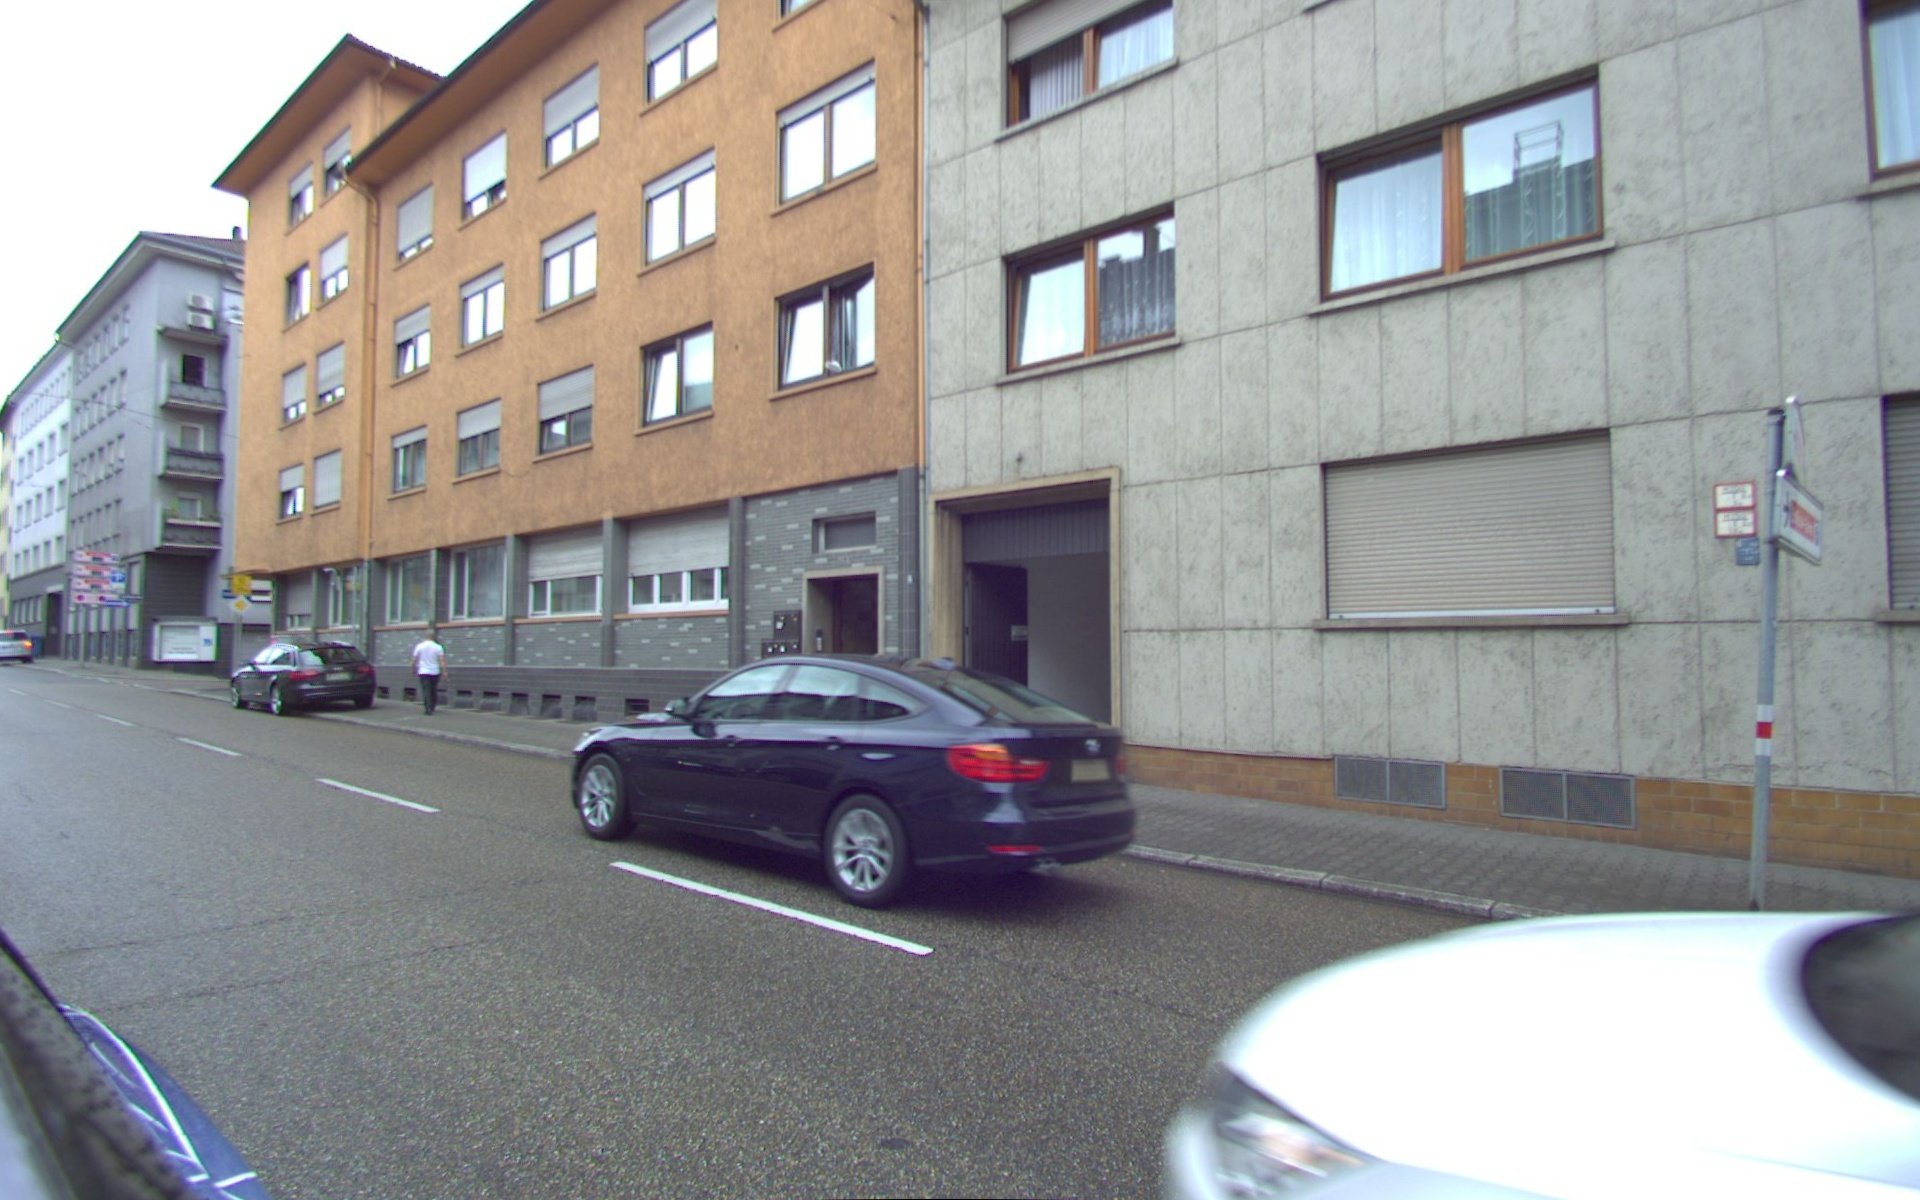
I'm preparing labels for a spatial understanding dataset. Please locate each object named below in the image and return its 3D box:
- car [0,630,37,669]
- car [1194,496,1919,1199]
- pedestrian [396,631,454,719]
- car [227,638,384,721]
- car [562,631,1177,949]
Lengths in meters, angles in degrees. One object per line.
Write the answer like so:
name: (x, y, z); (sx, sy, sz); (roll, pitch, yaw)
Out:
car: (-46.475, 2.372, 49.283); (4.216, 1.735, 1.832); (-1, 0, 41)
car: (2.435, 0.715, 0.826); (4.050, 1.551, 1.726); (-1, -4, 40)
pedestrian: (-10.614, 1.456, 20.067); (0.757, 1.652, 1.024); (-1, 0, -44)
car: (-14.249, 1.643, 21.947); (4.216, 1.485, 1.776); (-1, 0, 41)
car: (-0.867, 1.092, 7.242); (4.433, 1.551, 1.677); (-1, -6, 40)
